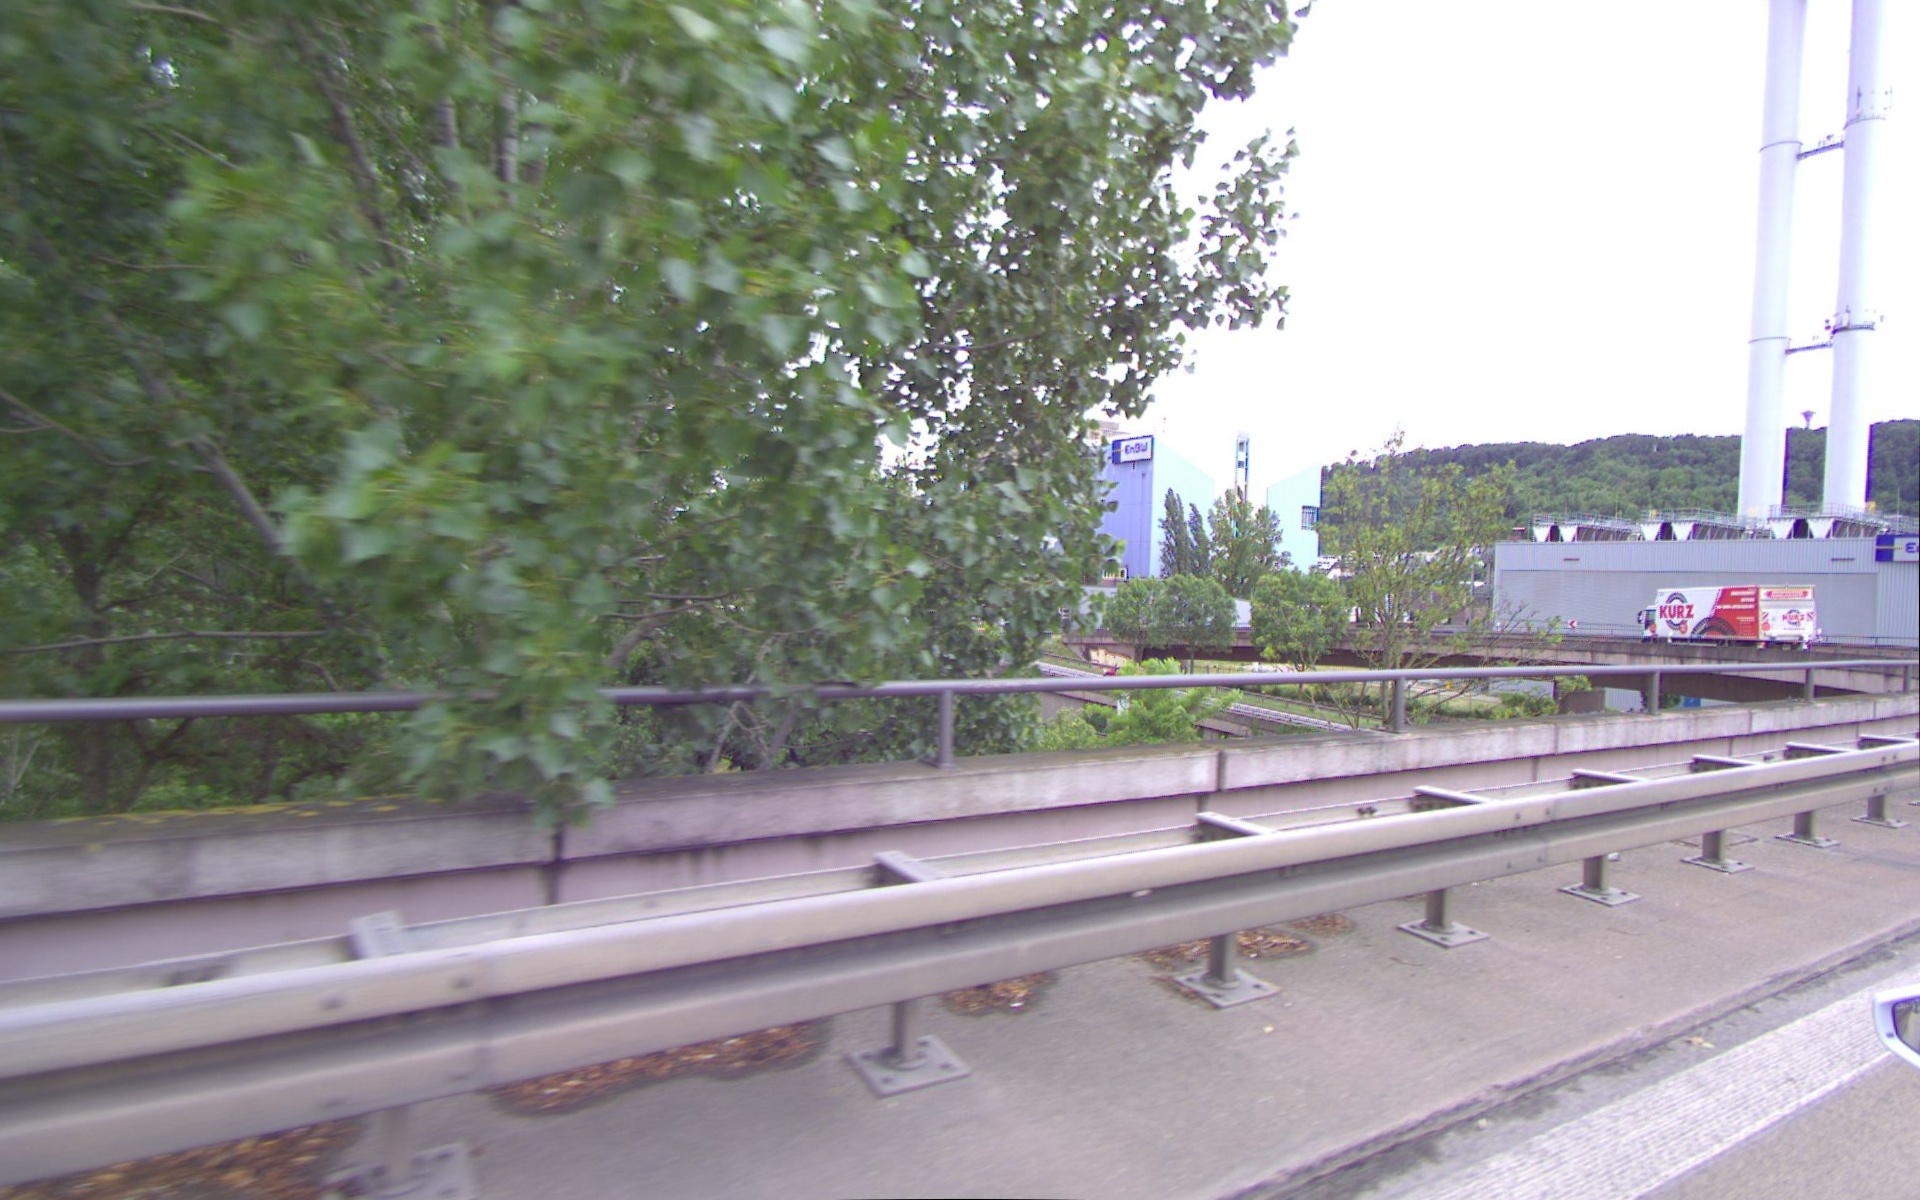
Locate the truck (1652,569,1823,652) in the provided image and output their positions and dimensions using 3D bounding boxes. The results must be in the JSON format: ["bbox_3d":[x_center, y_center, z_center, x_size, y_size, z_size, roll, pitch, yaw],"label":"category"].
[{"bbox_3d":[38.697,0.511,50.433,2.999,3.722,7.931,2,0,6],"label":"truck"}]
